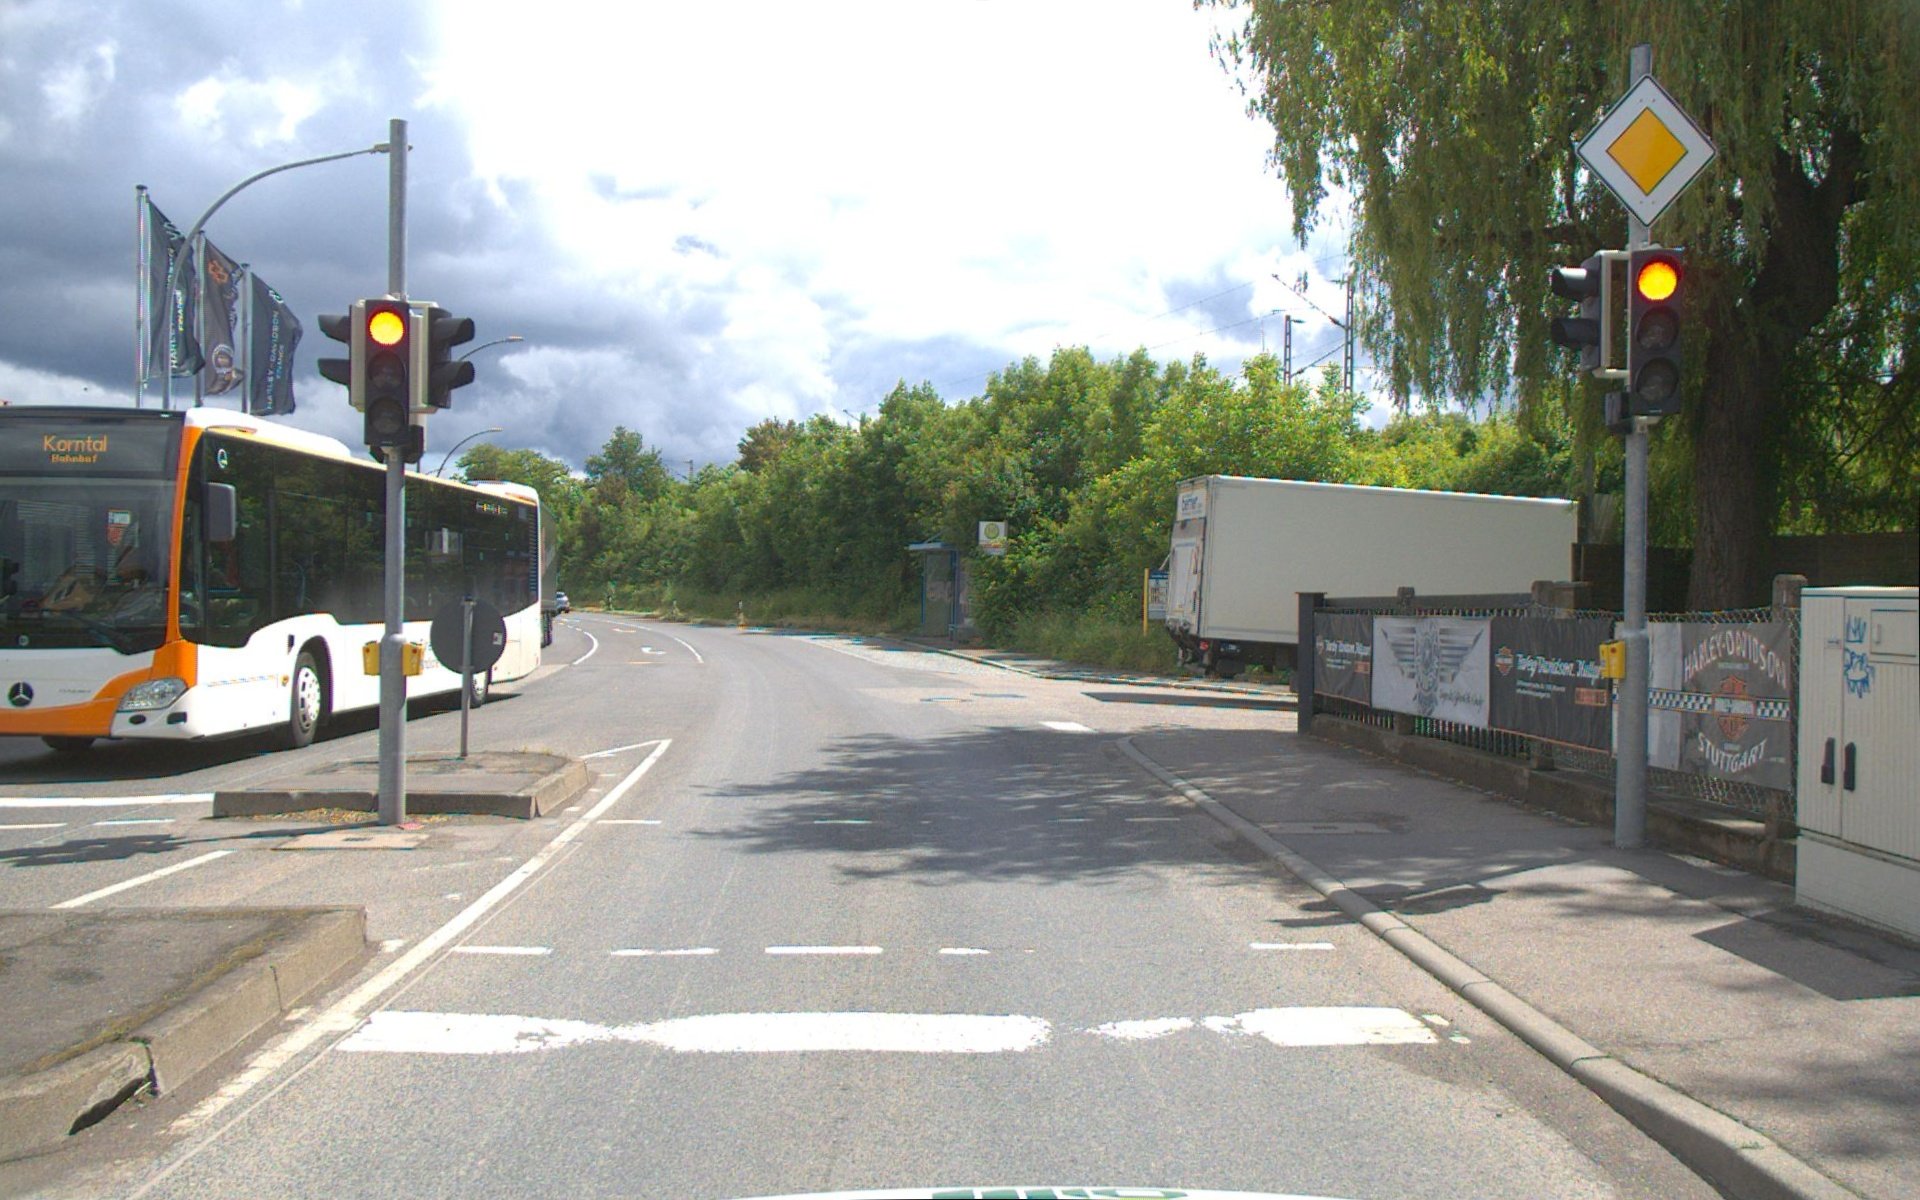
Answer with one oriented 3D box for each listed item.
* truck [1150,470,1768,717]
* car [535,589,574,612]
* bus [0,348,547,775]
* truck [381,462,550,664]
[{"bbox_3d":[8.212,-0.088,27.894,9.500,3.602,2.847,2,0,-4],"label":"truck"},{"bbox_3d":[-27.928,0.044,113.829,1.860,1.535,3.969,1,0,-25],"label":"car"},{"bbox_3d":[-7.512,-0.291,18.954,2.721,3.323,12.120,0,0,-1],"label":"bus"},{"bbox_3d":[-11.724,-0.785,40.006,2.383,4.203,9.133,3,0,-8],"label":"truck"}]
